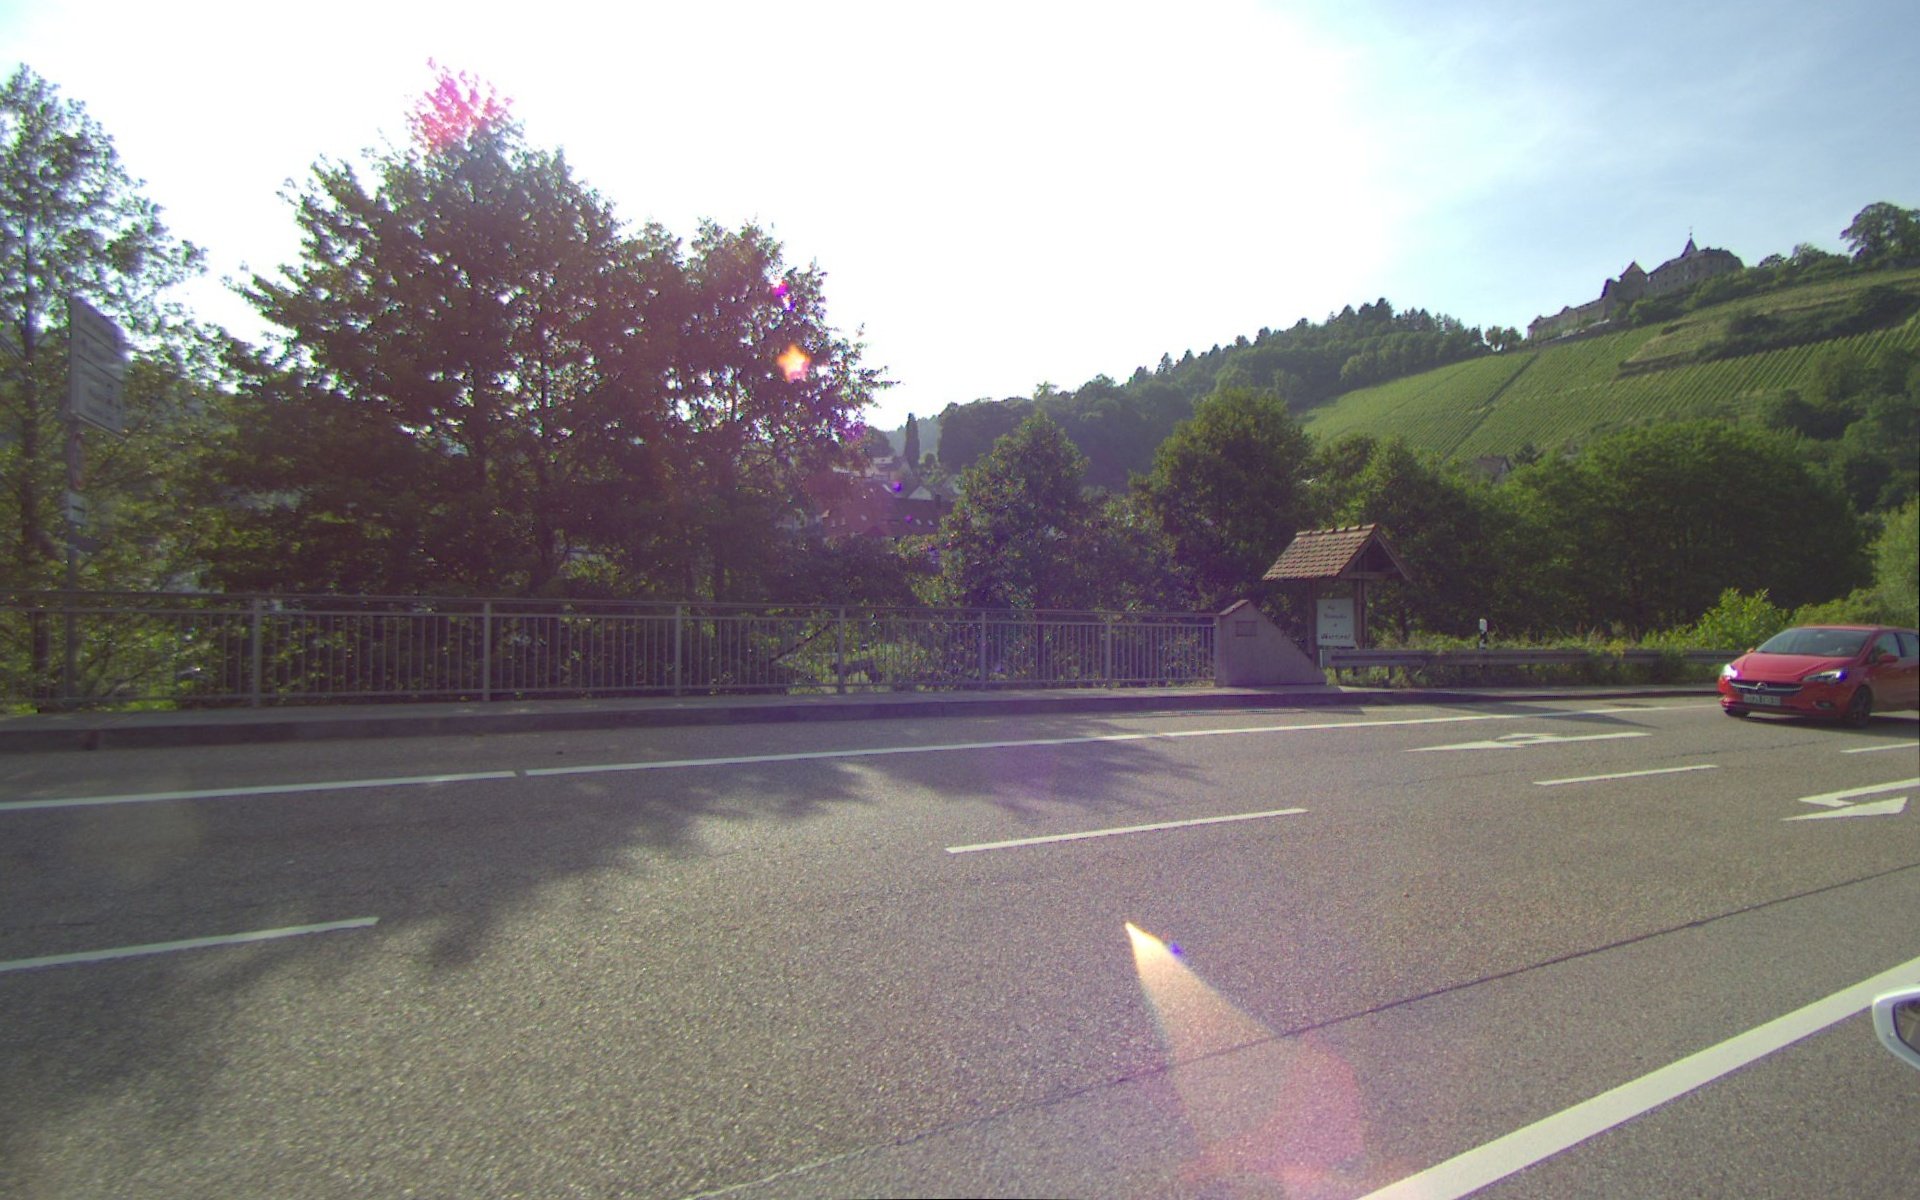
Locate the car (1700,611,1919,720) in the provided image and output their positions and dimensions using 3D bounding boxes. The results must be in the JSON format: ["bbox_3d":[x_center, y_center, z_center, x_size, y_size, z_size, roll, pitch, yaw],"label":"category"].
[{"bbox_3d":[13.537,0.950,15.564,4.147,1.479,1.669,1,0,-27],"label":"car"}]
